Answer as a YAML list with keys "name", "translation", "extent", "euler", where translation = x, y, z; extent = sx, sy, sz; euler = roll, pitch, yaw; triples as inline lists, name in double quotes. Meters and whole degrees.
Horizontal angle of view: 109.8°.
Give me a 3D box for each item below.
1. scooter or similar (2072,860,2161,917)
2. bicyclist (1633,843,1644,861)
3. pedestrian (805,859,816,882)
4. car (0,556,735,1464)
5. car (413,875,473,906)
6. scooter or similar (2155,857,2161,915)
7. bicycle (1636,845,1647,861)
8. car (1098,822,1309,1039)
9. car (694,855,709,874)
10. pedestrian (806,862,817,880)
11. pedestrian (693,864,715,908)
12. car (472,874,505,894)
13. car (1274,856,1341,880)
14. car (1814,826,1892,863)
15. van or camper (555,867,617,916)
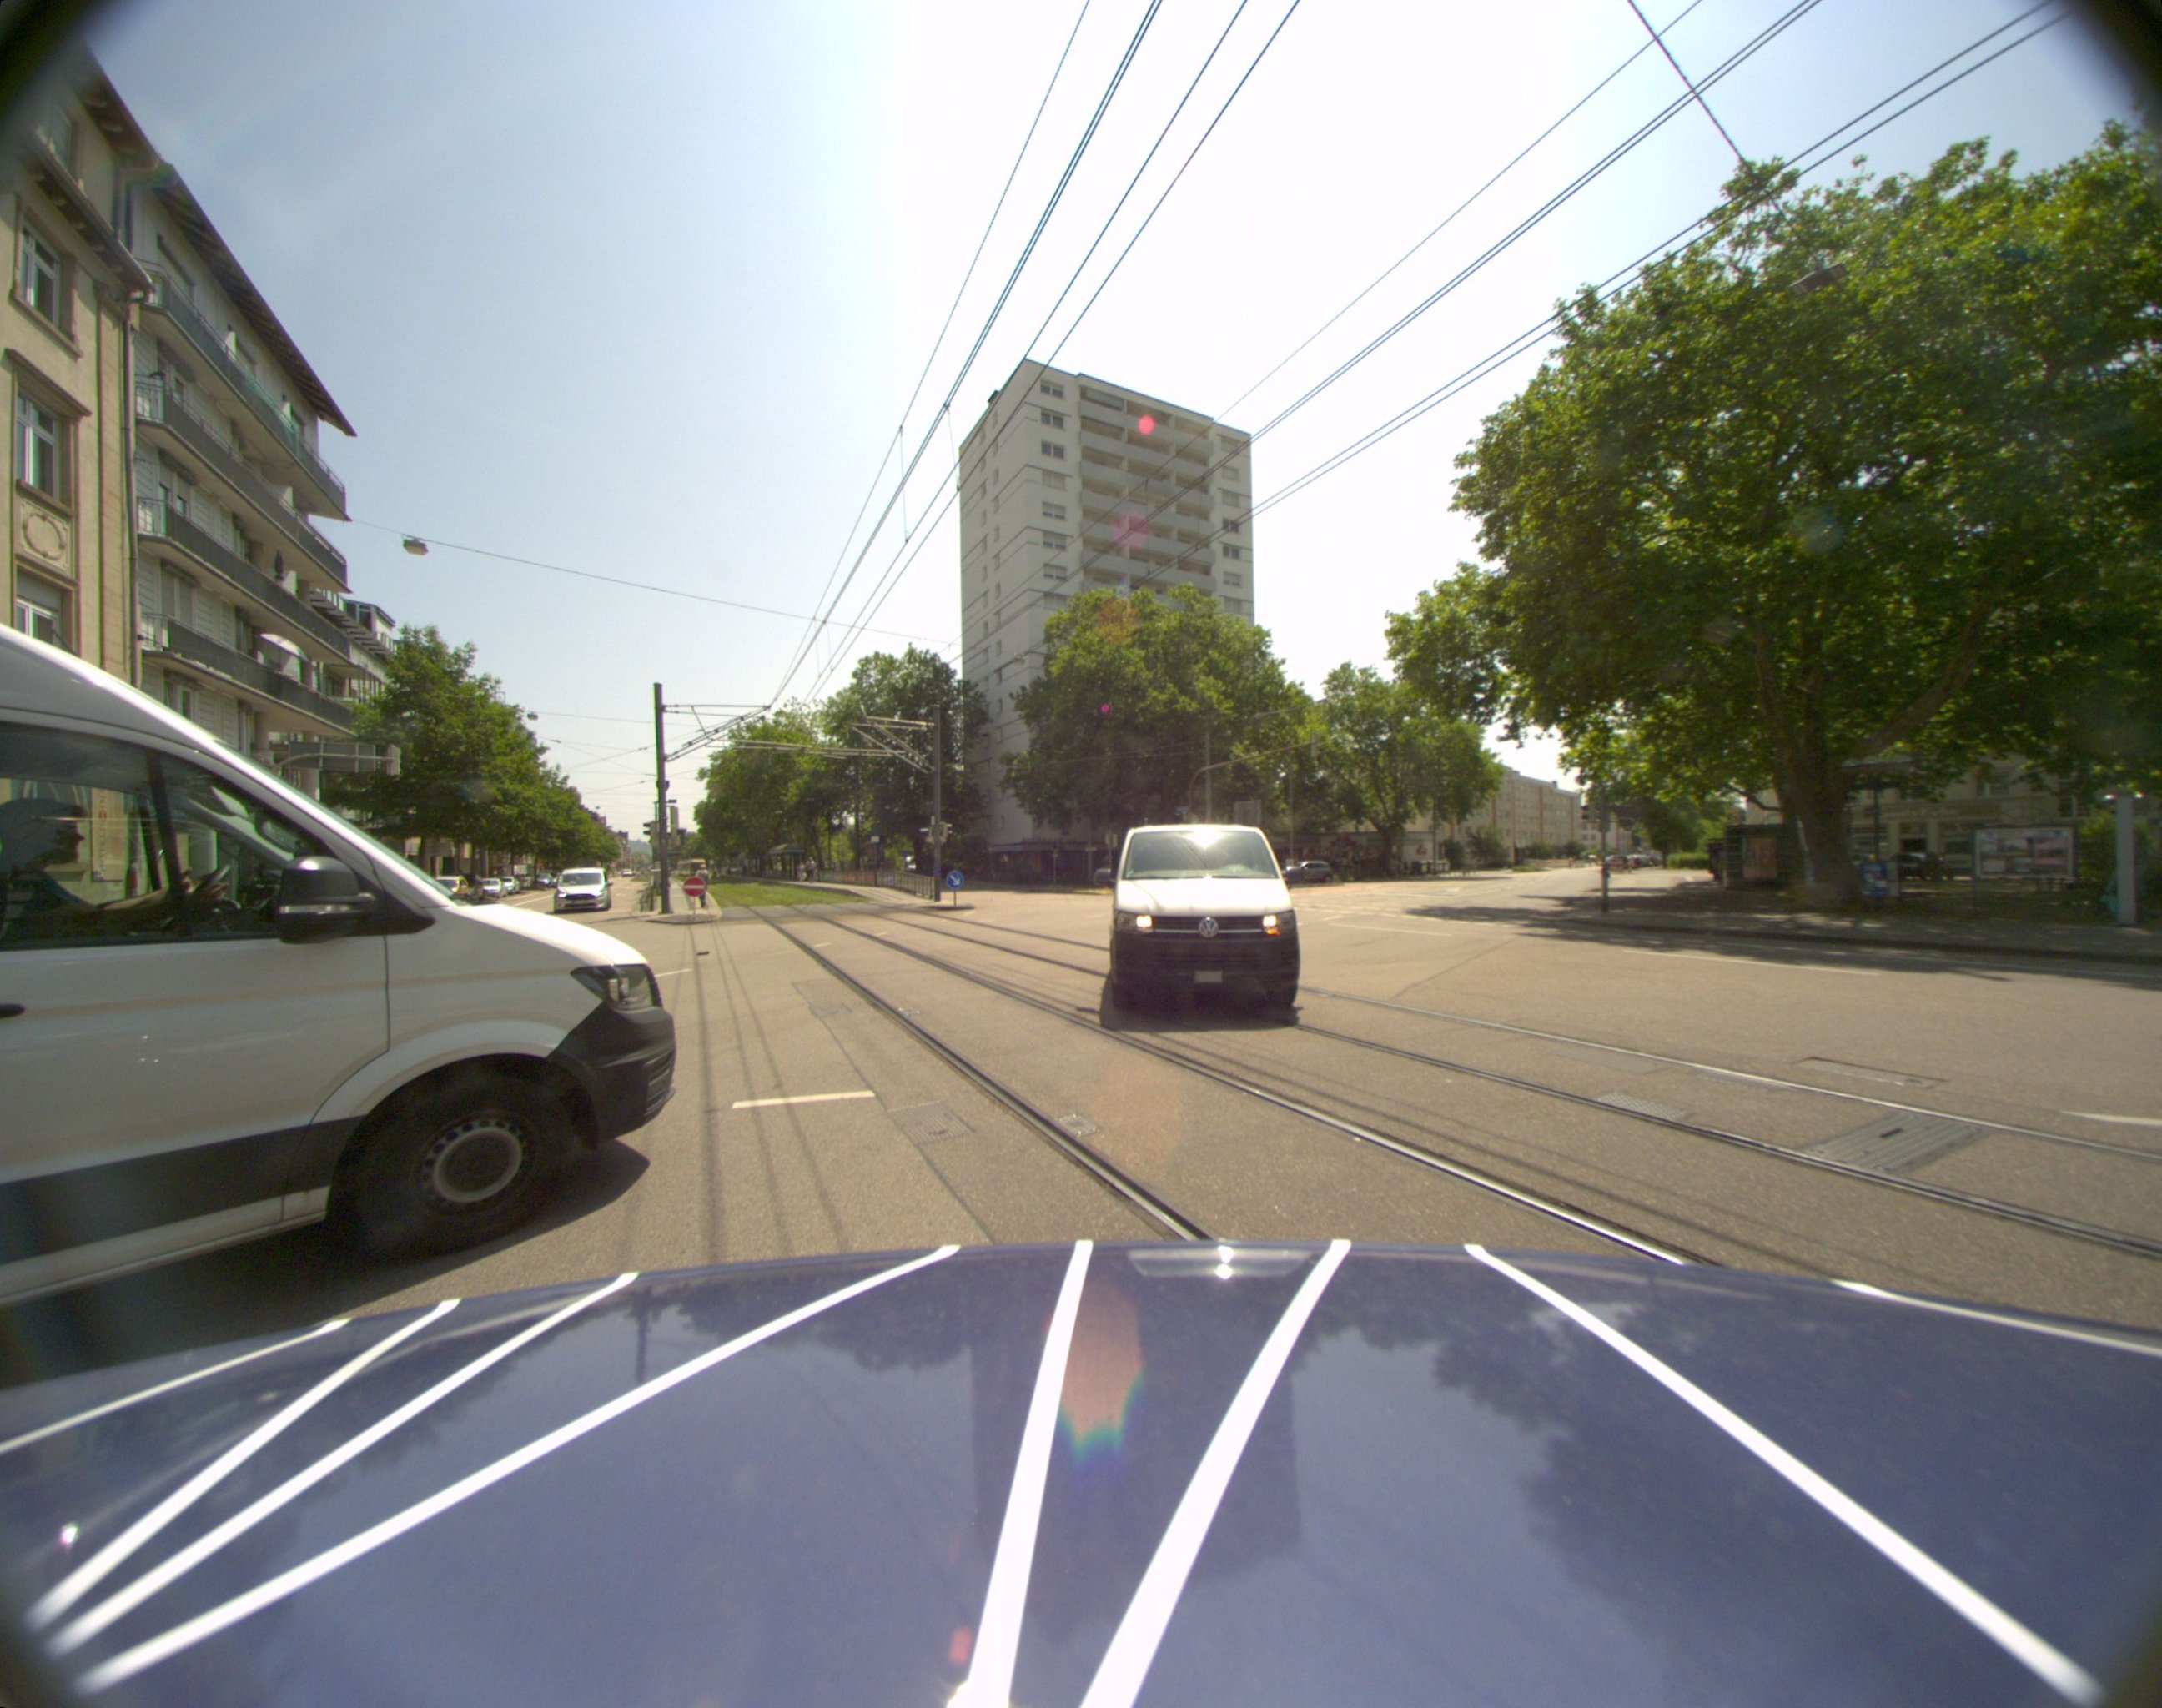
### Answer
- name: "scooter or similar"
  translation: [20.995, 0.677, 15.418]
  extent: [0.257, 1.114, 1.035]
  euler: [-2, 0, -17]
- name: "bicyclist"
  translation: [56.589, -0.194, 77.120]
  extent: [0.789, 1.725, 0.703]
  euler: [-3, 2, -44]
- name: "pedestrian"
  translation: [-19.155, 1.182, 53.728]
  extent: [0.554, 1.597, 0.678]
  euler: [-3, 1, -30]
- name: "car"
  translation: [-4.674, 0.481, 1.909]
  extent: [2.071, 2.622, 6.647]
  euler: [-1, 0, 38]
- name: "car"
  translation: [-36.162, 2.036, 43.158]
  extent: [2.003, 1.522, 3.990]
  euler: [-3, 1, -32]
- name: "scooter or similar"
  translation: [21.182, 0.622, 14.371]
  extent: [0.257, 1.114, 0.975]
  euler: [-3, 1, -16]
- name: "bicycle"
  translation: [57.349, -0.123, 77.675]
  extent: [1.846, 1.546, 0.595]
  euler: [-3, 2, -44]
- name: "car"
  translation: [1.429, 0.699, 9.358]
  extent: [1.851, 1.942, 4.946]
  euler: [-1, 0, 8]
- name: "car"
  translation: [-72.488, 1.957, 145.048]
  extent: [2.279, 3.319, 12.007]
  euler: [-2, 0, -28]
- name: "pedestrian"
  translation: [-20.452, 1.309, 57.639]
  extent: [0.680, 1.341, 0.630]
  euler: [-3, 1, -30]
- name: "pedestrian"
  translation: [-14.698, 1.236, 29.599]
  extent: [0.681, 1.696, 0.552]
  euler: [-3, 1, -26]
- name: "car"
  translation: [-45.645, 2.269, 58.570]
  extent: [1.690, 1.433, 3.467]
  euler: [-1, 0, -33]
- name: "car"
  translation: [15.443, 0.929, 51.880]
  extent: [4.062, 1.453, 1.943]
  euler: [-3, 1, -23]
- name: "car"
  translation: [45.613, -0.548, 44.902]
  extent: [4.004, 2.002, 1.996]
  euler: [-3, 1, -25]
- name: "van or camper"
  translation: [-20.277, 1.447, 31.264]
  extent: [1.770, 1.748, 4.583]
  euler: [-3, 1, -30]
